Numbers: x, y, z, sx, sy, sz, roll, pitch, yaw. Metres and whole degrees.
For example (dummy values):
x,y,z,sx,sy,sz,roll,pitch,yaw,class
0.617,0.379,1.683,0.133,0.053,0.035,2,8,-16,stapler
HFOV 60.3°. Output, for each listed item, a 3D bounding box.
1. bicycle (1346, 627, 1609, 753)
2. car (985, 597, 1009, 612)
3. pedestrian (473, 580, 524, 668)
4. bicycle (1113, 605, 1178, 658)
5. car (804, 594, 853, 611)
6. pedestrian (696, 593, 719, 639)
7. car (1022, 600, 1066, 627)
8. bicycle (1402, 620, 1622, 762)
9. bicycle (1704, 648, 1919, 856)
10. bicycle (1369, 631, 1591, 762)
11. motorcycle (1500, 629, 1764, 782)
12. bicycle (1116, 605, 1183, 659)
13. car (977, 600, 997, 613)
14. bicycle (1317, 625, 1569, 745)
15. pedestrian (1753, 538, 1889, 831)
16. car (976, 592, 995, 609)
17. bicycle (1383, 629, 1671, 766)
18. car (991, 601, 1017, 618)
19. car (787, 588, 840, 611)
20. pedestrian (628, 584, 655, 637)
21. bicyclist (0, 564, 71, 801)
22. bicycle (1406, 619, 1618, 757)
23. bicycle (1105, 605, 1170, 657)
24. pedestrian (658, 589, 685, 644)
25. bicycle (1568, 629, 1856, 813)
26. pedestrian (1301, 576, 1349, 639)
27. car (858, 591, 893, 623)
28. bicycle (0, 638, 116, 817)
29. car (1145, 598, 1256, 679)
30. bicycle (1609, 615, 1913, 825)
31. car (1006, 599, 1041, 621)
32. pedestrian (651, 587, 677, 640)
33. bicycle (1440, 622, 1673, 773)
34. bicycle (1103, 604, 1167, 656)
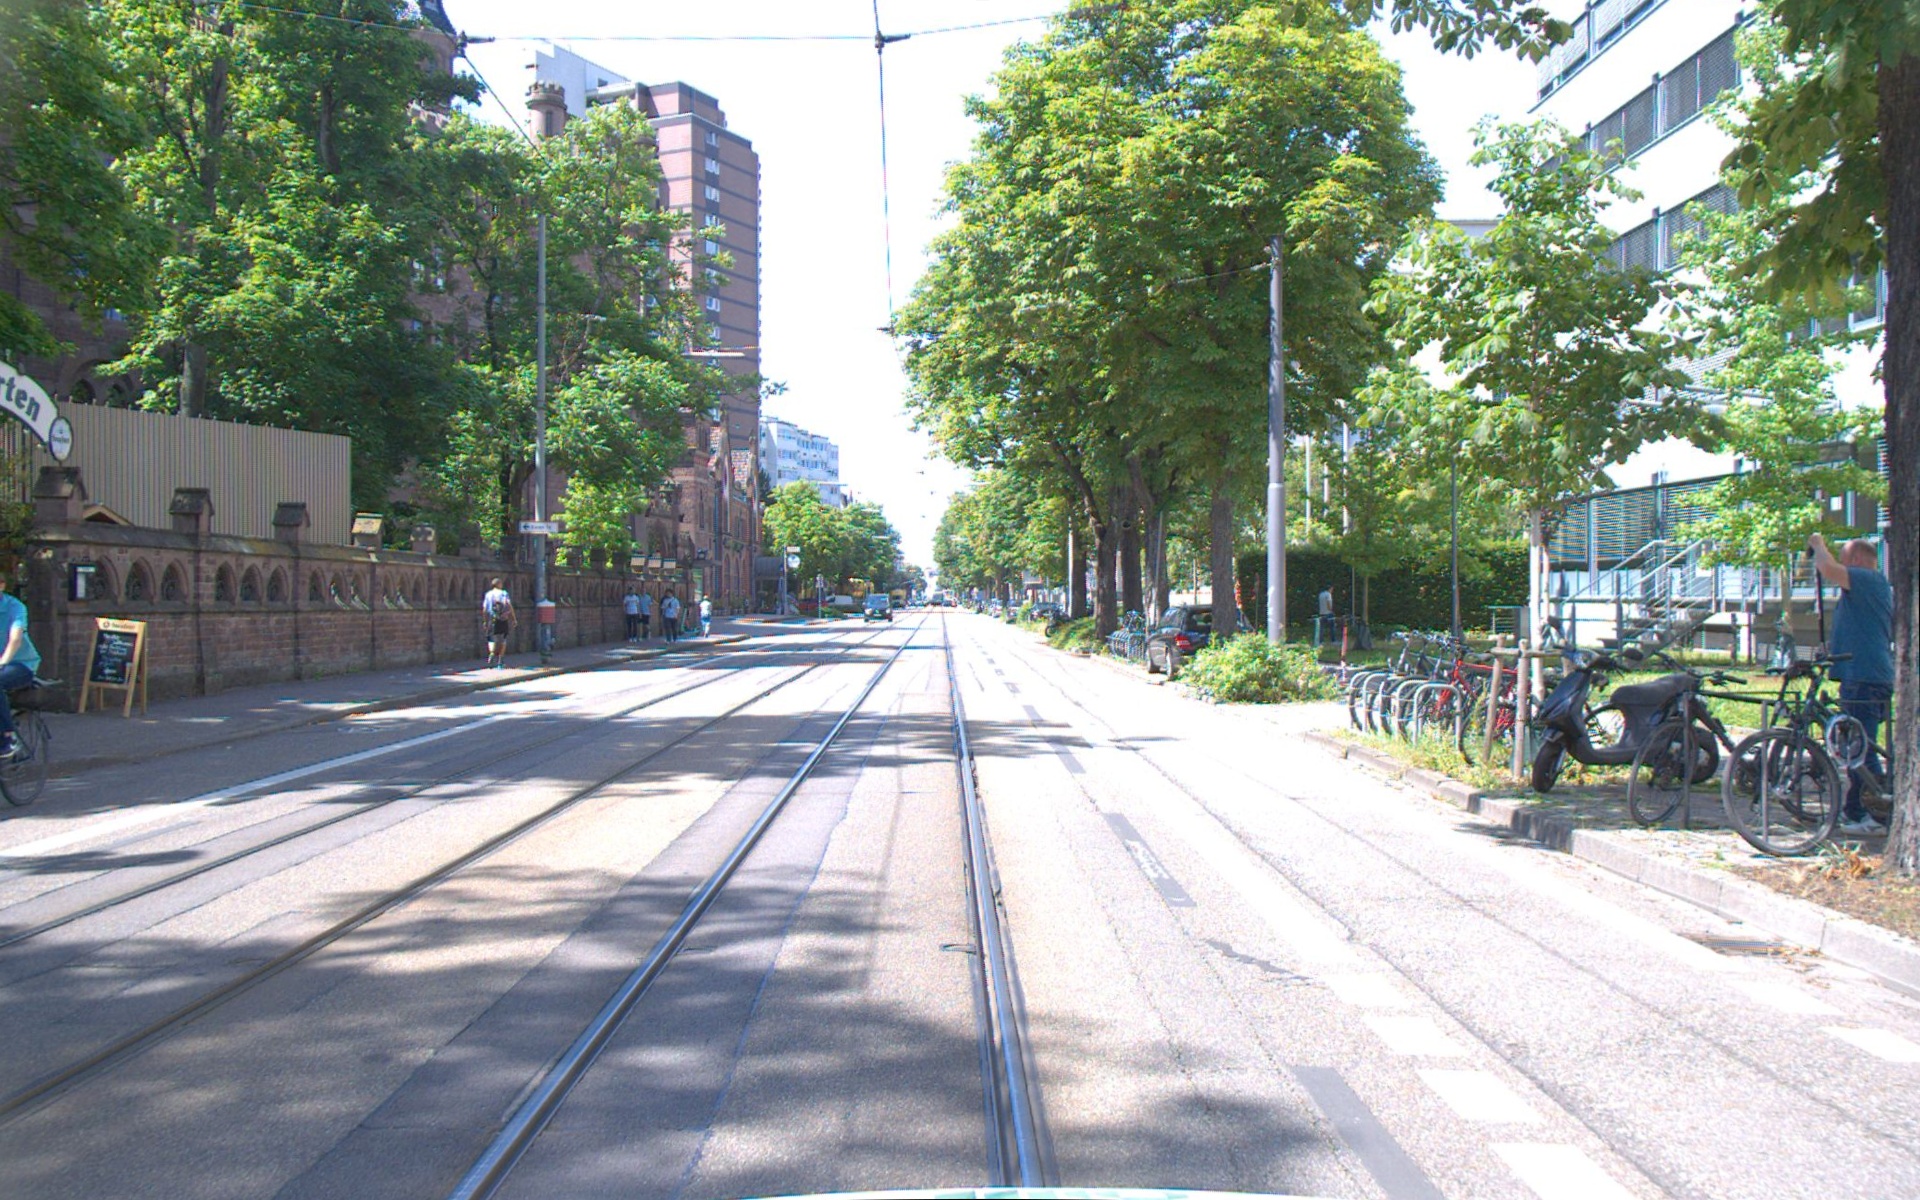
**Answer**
x,y,z,sx,sy,sz,roll,pitch,yaw,class
5.207,0.902,16.727,2.458,1.231,0.622,0,0,3,bicycle
3.293,0.367,147.725,1.953,1.333,3.999,0,0,-1,car
-9.509,0.490,34.123,0.798,1.801,0.924,0,0,-1,pedestrian
4.454,0.754,39.772,1.532,1.263,0.437,0,0,0,bicycle
-13.712,0.286,172.661,4.675,1.747,1.981,0,0,-29,car
-9.622,0.607,63.041,0.728,1.758,0.867,0,0,-2,pedestrian
4.165,0.650,82.572,1.953,1.333,3.999,0,0,-1,car
4.709,0.767,14.148,1.717,1.186,0.530,0,0,-4,bicycle
5.220,0.844,9.411,1.752,1.121,0.531,0,0,-3,bicycle
5.030,0.927,16.087,1.955,1.231,0.662,0,0,3,bicycle
5.136,0.796,12.702,1.787,1.130,0.598,0,0,-1,motorcycle
4.490,0.763,39.269,1.532,1.263,0.437,0,0,0,bicycle
2.904,0.693,178.453,1.953,1.333,3.999,0,0,-1,car
5.081,0.890,17.523,2.458,1.231,0.742,0,0,3,bicycle
5.395,0.501,10.355,0.574,1.745,0.793,0,0,42,pedestrian
2.893,0.077,188.161,1.953,1.937,3.999,0,0,-1,car
5.246,0.899,15.404,2.458,1.231,0.648,0,0,3,bicycle
3.591,0.738,134.709,1.953,1.333,3.999,0,0,-1,car
-12.353,-0.041,139.335,3.950,1.835,1.977,2,0,-33,car
-10.654,0.347,55.356,0.728,1.758,0.867,0,0,-1,pedestrian
-7.158,0.597,12.328,0.629,1.709,0.814,0,0,-1,bicyclist
4.879,0.771,14.653,1.717,1.186,0.530,0,0,-4,bicycle
4.332,0.749,40.353,1.532,1.263,0.437,0,0,0,bicycle
-9.405,0.540,53.890,0.728,1.758,0.867,0,0,-1,pedestrian
5.019,0.795,11.081,1.717,1.186,0.530,0,0,-4,bicycle
10.924,0.224,49.536,1.191,1.859,0.831,0,0,-4,pedestrian
-5.485,0.436,107.560,1.952,2.049,4.001,0,0,1,car
-7.176,0.936,12.258,0.686,1.225,2.240,-2,0,-1,bicycle
4.792,0.725,33.374,1.600,1.527,3.999,0,0,-1,car
5.107,0.751,10.580,1.717,1.293,0.530,0,0,-4,bicycle
3.974,0.596,104.225,1.953,1.333,3.999,0,0,-1,car
-9.905,0.433,55.354,0.728,1.758,0.867,0,0,-1,pedestrian
4.820,0.776,13.402,1.717,1.186,0.530,0,0,-4,bicycle
4.322,0.746,40.882,1.532,1.263,0.437,0,0,0,bicycle
